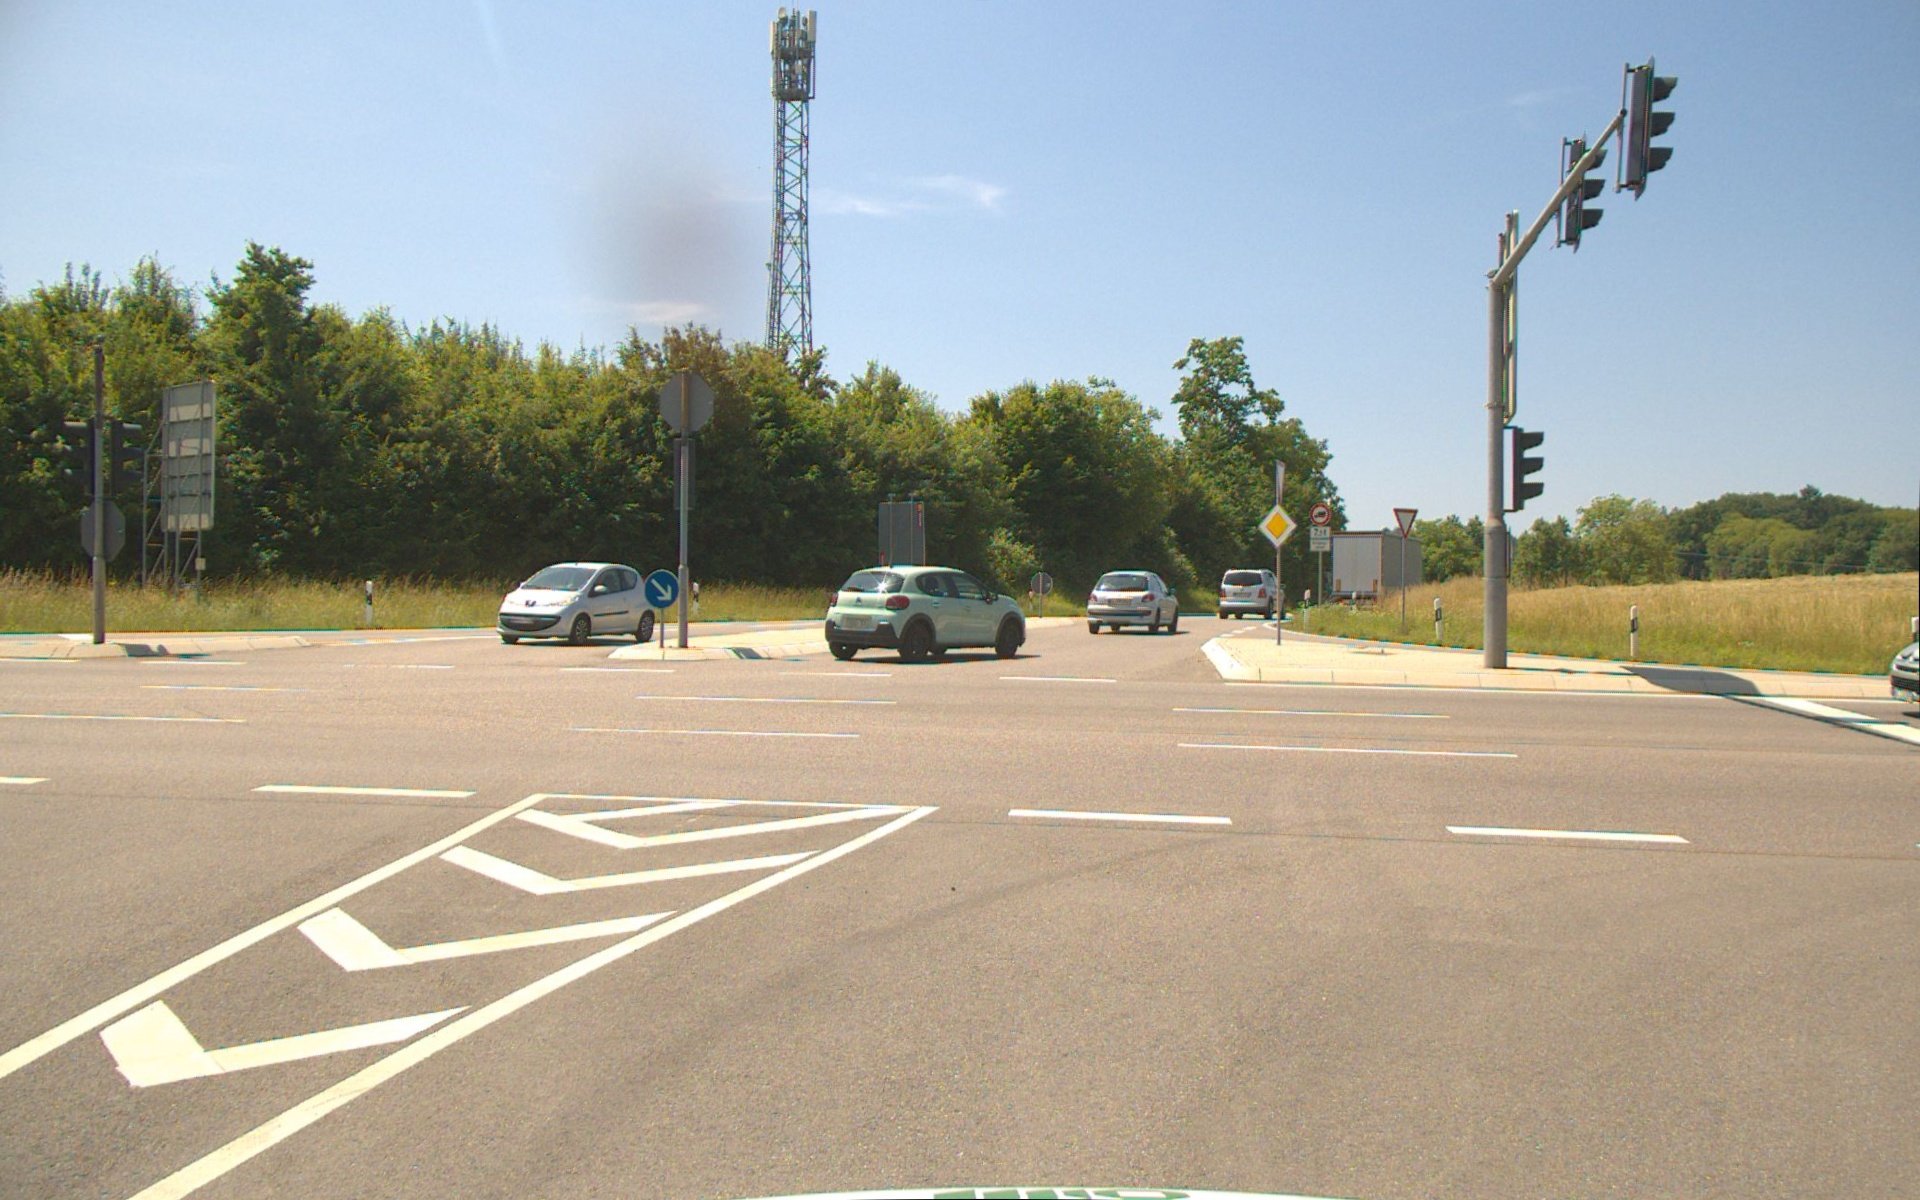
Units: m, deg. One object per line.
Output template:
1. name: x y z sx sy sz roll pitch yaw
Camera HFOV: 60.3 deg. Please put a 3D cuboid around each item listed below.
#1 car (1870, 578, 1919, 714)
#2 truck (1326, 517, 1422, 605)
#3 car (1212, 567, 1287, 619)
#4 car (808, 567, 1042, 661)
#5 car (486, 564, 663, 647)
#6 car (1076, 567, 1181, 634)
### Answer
1. car: 12.924 0.561 18.875 4.068 1.495 1.731 1 2 8
2. truck: 22.133 -1.947 87.506 3.061 4.245 16.689 1 1 20
3. car: 9.952 -0.268 56.627 1.775 1.653 4.061 0 2 21
4. car: -0.508 0.195 27.166 1.702 1.429 3.968 0 0 39
5. car: -7.045 0.053 30.565 1.532 1.394 3.532 1 2 19
6. car: 4.016 -0.023 38.893 1.774 1.437 3.786 1 2 17
